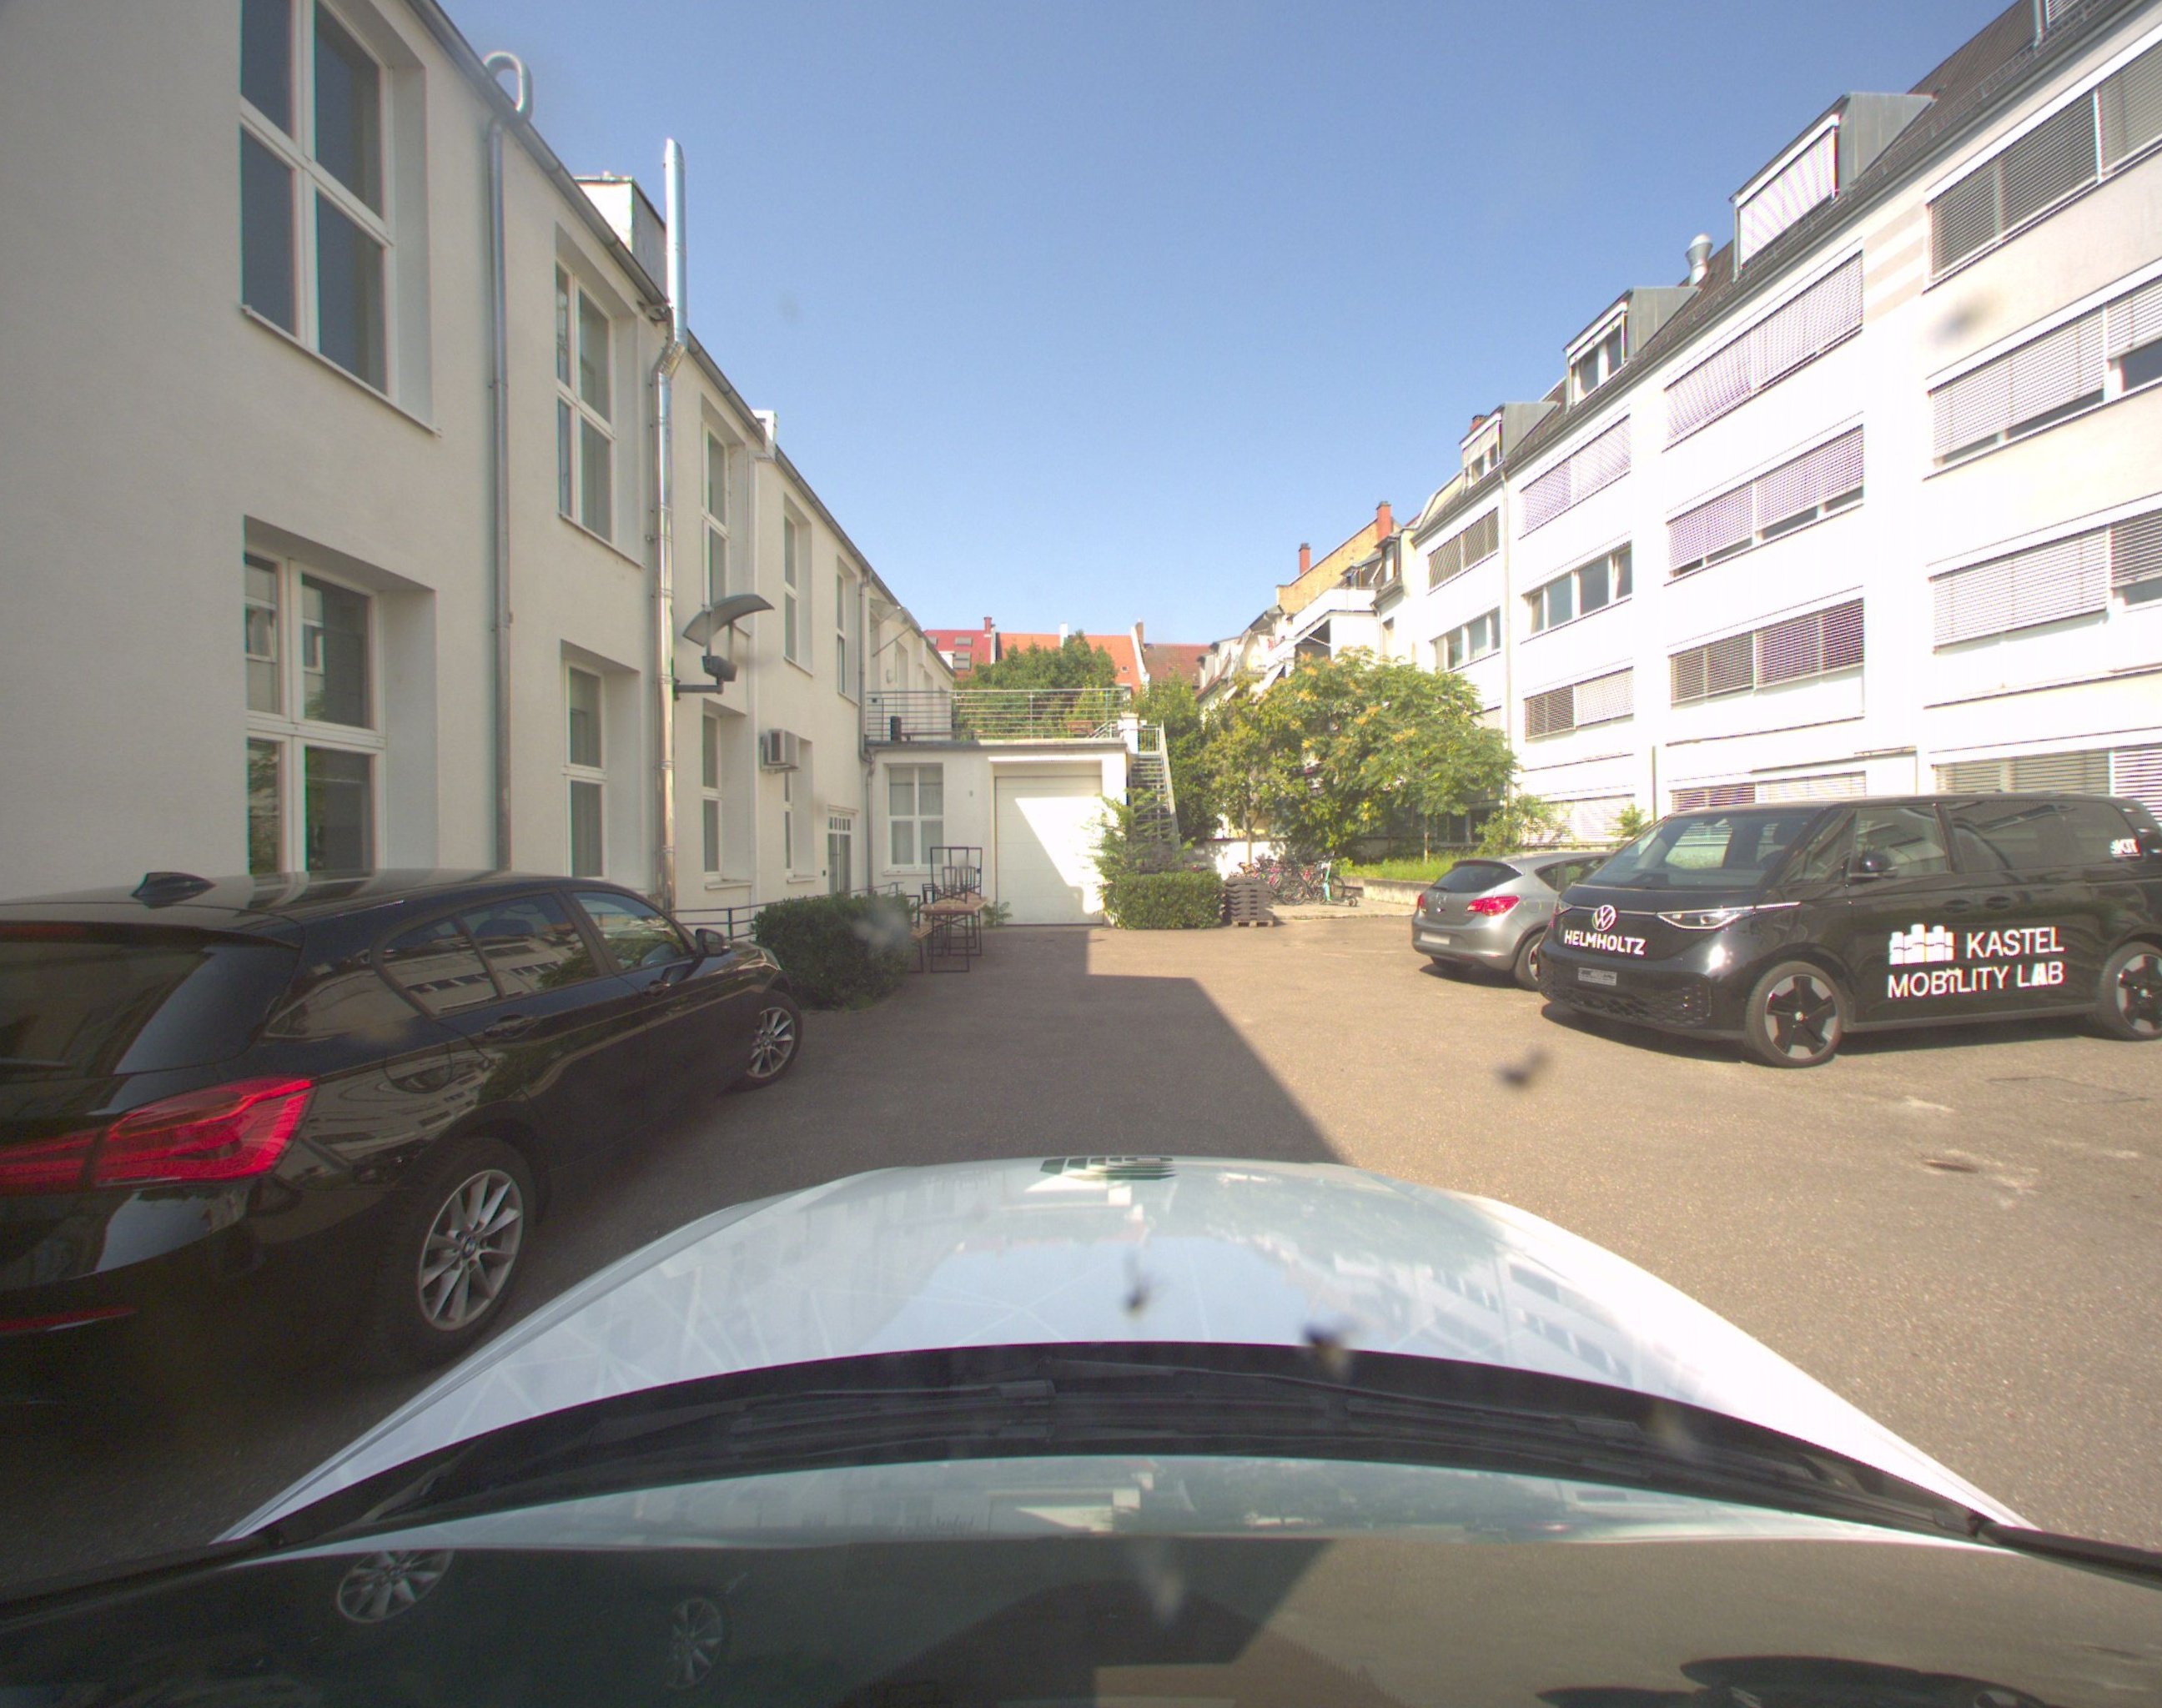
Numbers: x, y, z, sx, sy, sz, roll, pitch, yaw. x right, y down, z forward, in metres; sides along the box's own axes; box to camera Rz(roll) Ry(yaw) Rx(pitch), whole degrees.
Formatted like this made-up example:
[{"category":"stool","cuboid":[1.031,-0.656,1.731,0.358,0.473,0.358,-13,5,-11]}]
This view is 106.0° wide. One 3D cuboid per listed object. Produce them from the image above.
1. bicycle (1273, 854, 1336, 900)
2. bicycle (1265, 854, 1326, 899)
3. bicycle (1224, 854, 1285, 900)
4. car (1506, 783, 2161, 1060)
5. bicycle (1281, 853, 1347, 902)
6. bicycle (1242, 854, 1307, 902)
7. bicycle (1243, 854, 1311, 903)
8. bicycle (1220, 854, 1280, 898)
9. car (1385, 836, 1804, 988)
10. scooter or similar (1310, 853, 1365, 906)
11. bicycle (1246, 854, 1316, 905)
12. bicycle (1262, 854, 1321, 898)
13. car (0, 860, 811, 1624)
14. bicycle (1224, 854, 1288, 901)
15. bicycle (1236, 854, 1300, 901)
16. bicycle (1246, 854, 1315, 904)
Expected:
[{"category":"bicycle","cuboid":[6.031,0.623,22.036,1.611,1.214,0.425,-2,0,13]},{"category":"bicycle","cuboid":[5.944,0.627,22.612,1.612,1.214,0.425,-2,0,13]},{"category":"bicycle","cuboid":[4.887,0.638,22.955,1.620,1.214,0.423,-2,0,-5]},{"category":"car","cuboid":[6.138,0.423,6.632,4.499,1.794,1.877,-1,-1,-9]},{"category":"bicycle","cuboid":[6.042,0.617,21.175,1.611,1.214,0.328,-2,0,15]},{"category":"bicycle","cuboid":[5.043,0.626,21.278,1.613,1.214,0.328,-2,0,10]},{"category":"bicycle","cuboid":[5.000,0.624,20.828,1.617,1.214,0.327,-2,0,2]},{"category":"bicycle","cuboid":[4.892,0.641,23.557,1.620,1.214,0.423,-2,0,-5]},{"category":"car","cuboid":[5.853,0.602,9.518,3.931,1.482,1.769,-1,-1,-9]},{"category":"scooter or similar","cuboid":[6.277,0.615,19.963,0.381,1.261,1.335,-2,0,-31]},{"category":"bicycle","cuboid":[4.953,0.621,20.213,1.617,1.214,0.327,-2,0,2]},{"category":"bicycle","cuboid":[6.102,0.632,23.638,1.612,1.214,0.425,-2,0,13]},{"category":"car","cuboid":[-2.647,0.765,3.516,1.683,1.459,3.921,0,0,-1]},{"category":"bicycle","cuboid":[4.794,0.635,22.321,1.618,1.214,0.424,-2,0,-1]},{"category":"bicycle","cuboid":[4.971,0.629,21.643,1.611,1.214,0.328,-2,0,13]},{"category":"bicycle","cuboid":[5.025,0.622,20.534,1.617,1.214,0.327,-2,0,2]}]
